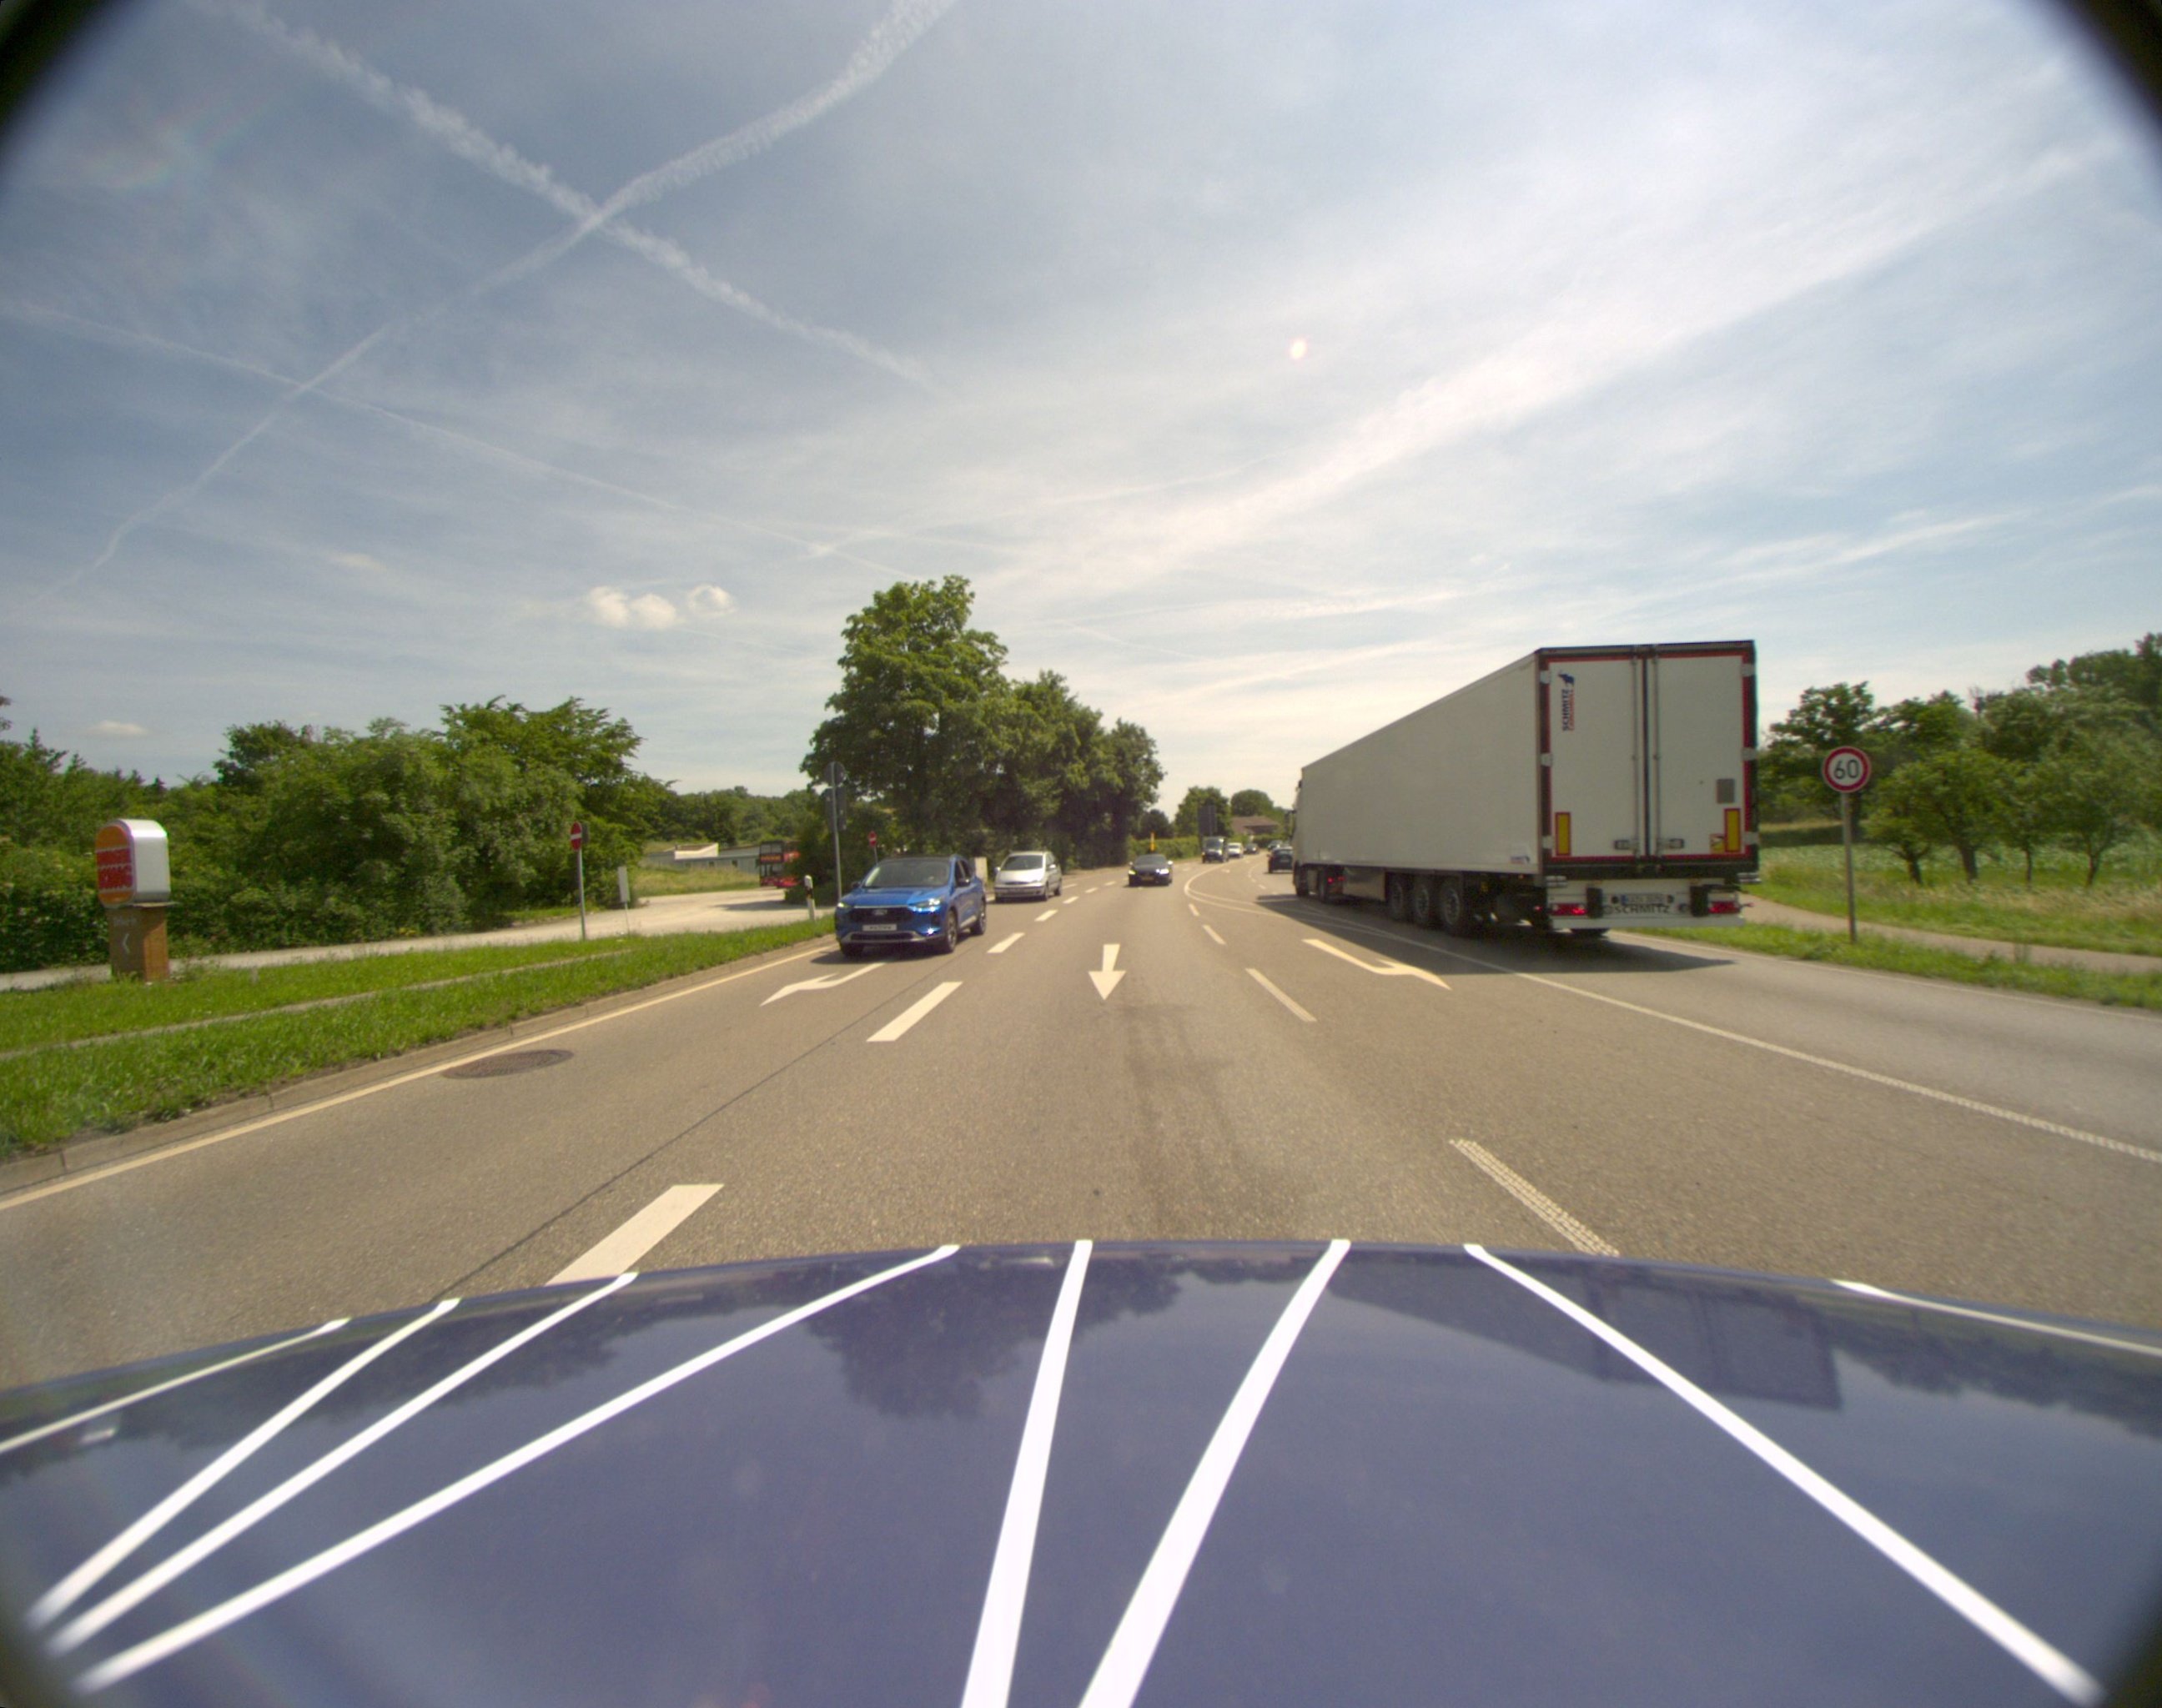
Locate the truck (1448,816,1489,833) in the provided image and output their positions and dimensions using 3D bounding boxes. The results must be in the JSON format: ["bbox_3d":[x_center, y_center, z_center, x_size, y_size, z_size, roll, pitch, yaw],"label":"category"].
[{"bbox_3d":[110.948,-8.485,217.306,16.185,4.582,2.739,-3,1,-33],"label":"truck"}]

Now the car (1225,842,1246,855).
[{"bbox_3d":[18.201,-0.684,89.549,1.780,1.484,4.163,-1,1,21],"label":"car"}]

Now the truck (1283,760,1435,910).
[{"bbox_3d":[8.059,-0.502,22.840,2.784,3.920,5.707,0,0,4],"label":"truck"}]

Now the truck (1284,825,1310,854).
[{"bbox_3d":[28.448,-1.885,99.790,2.972,3.549,6.906,-1,1,18],"label":"truck"}]

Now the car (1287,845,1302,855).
[{"bbox_3d":[37.655,-0.731,133.909,1.806,1.722,4.007,-3,-1,27],"label":"car"}]

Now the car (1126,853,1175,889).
[{"bbox_3d":[3.257,0.727,34.786,1.781,1.484,4.161,-2,0,11],"label":"car"}]

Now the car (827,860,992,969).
[{"bbox_3d":[-2.908,0.947,13.887,1.783,1.549,4.388,-2,1,3],"label":"car"}]

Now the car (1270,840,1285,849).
[{"bbox_3d":[31.658,-1.539,122.218,1.780,1.484,4.163,-1,1,21],"label":"car"}]

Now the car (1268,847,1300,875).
[{"bbox_3d":[12.397,0.383,46.236,1.618,1.549,4.005,-1,1,19],"label":"car"}]

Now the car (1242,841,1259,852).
[{"bbox_3d":[23.904,-1.090,106.968,1.780,1.484,4.163,-1,1,21],"label":"car"}]

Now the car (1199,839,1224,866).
[{"bbox_3d":[12.785,-0.195,74.644,1.980,2.504,4.159,-2,1,5],"label":"car"}]

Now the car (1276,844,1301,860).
[{"bbox_3d":[20.462,-0.222,74.861,1.617,1.454,4.006,-1,1,25],"label":"car"}]

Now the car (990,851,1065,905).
[{"bbox_3d":[-1.786,0.766,26.979,1.864,1.682,4.528,-2,1,6],"label":"car"}]

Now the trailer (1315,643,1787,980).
[{"bbox_3d":[7.501,-0.527,15.102,2.784,4.078,11.663,0,0,4],"label":"trailer"}]
